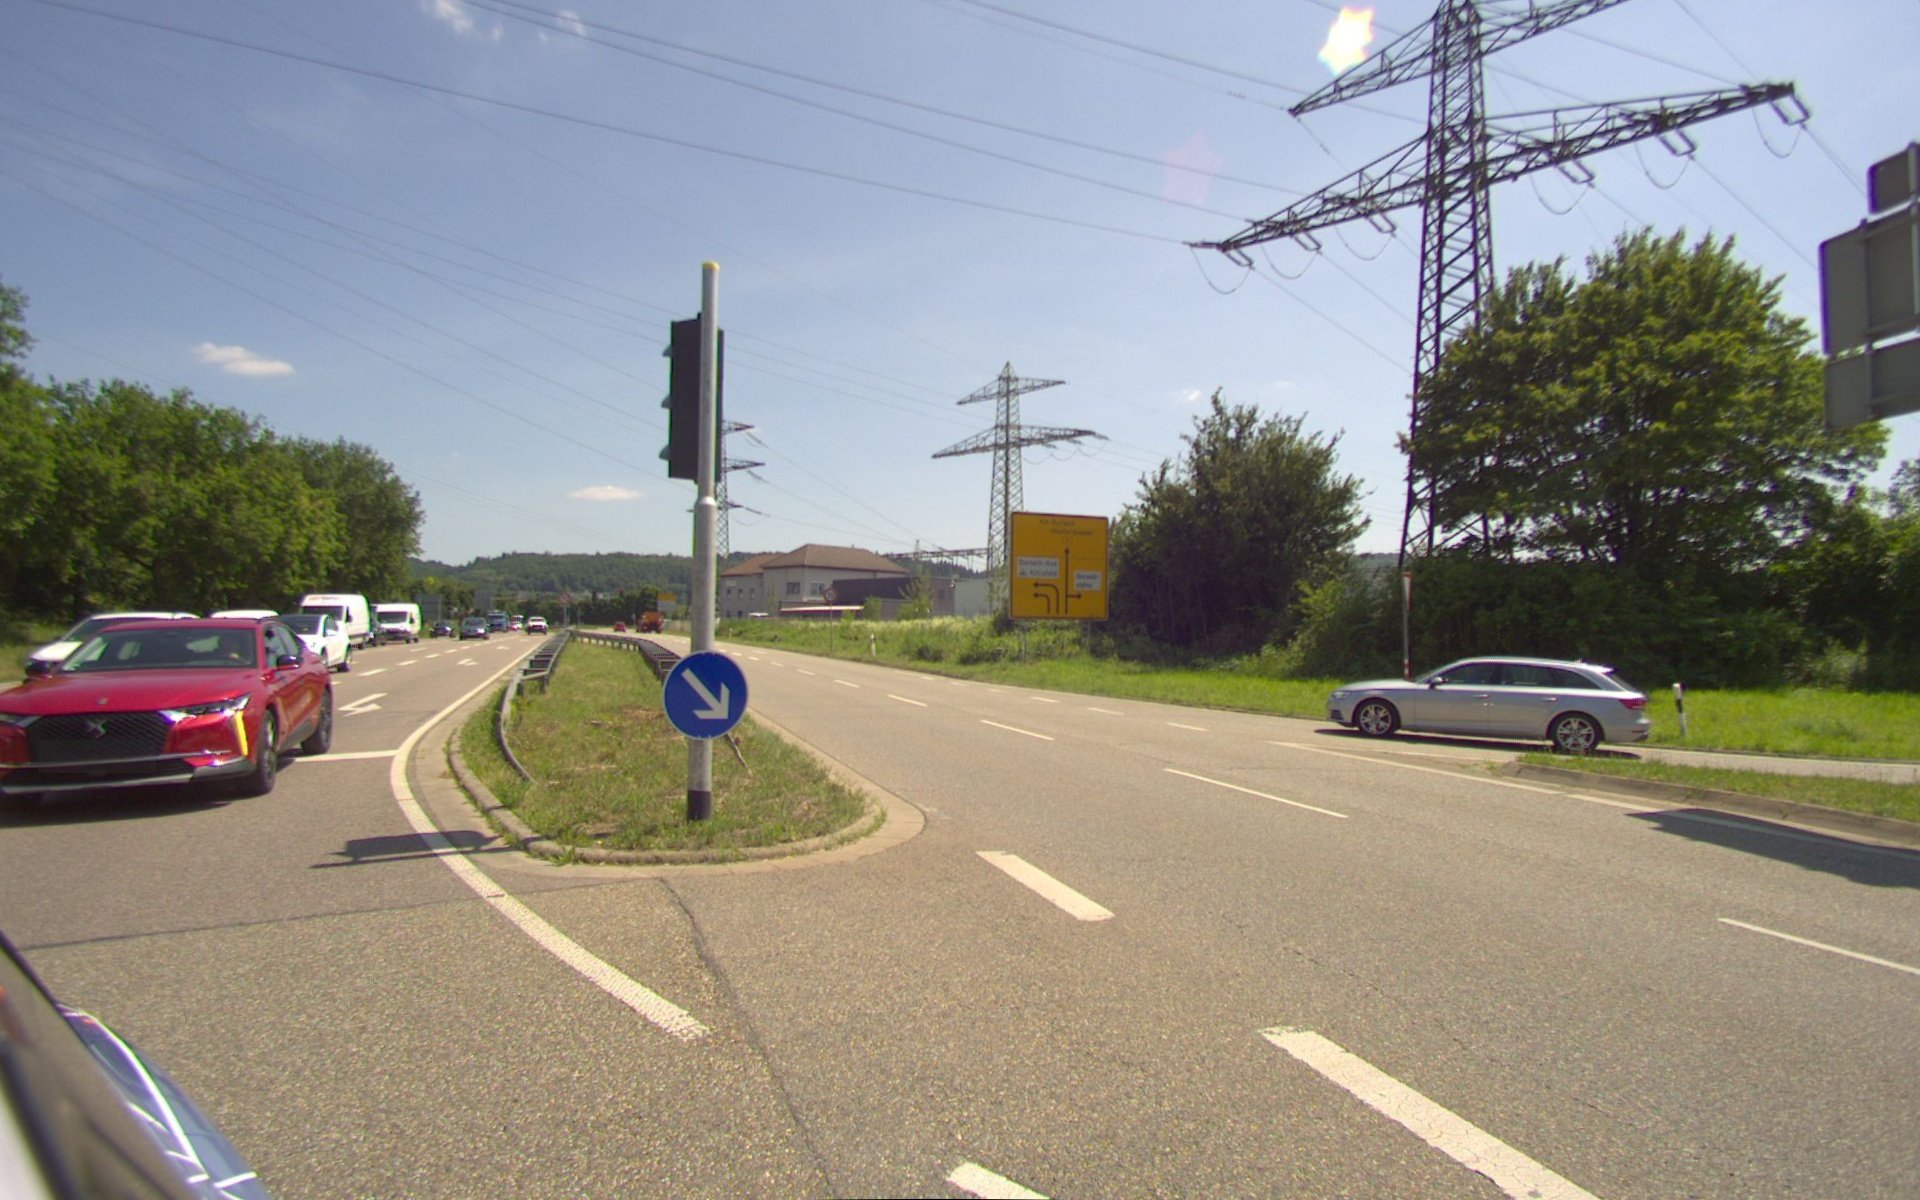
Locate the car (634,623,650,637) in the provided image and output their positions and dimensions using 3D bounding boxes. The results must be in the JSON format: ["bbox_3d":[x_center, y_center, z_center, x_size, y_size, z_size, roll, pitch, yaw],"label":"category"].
[{"bbox_3d":[-48.423,4.549,154.038,1.965,1.929,4.013,-1,0,-24],"label":"car"}]

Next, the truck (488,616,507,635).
[{"bbox_3d":[-62.562,3.389,136.930,2.134,2.460,4.927,-1,0,-23],"label":"truck"}]

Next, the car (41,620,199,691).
[{"bbox_3d":[-20.870,1.317,25.353,1.718,1.606,4.286,-1,-1,-20],"label":"car"}]

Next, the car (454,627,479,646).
[{"bbox_3d":[-50.290,3.723,103.190,1.965,1.832,4.013,-1,0,-20],"label":"car"}]

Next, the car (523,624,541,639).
[{"bbox_3d":[-62.230,4.596,147.187,1.966,2.029,4.012,-1,0,-17],"label":"car"}]

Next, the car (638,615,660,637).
[{"bbox_3d":[-44.733,3.752,145.325,2.563,3.084,5.657,2,-2,-21],"label":"car"}]

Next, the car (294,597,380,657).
[{"bbox_3d":[-29.302,1.249,47.832,2.195,2.627,7.041,-1,-1,-21],"label":"car"}]

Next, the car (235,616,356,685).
[{"bbox_3d":[-17.884,1.301,27.446,1.988,1.694,4.013,-1,-1,-22],"label":"car"}]

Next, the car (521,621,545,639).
[{"bbox_3d":[-43.206,3.033,102.503,1.965,1.776,4.012,1,-2,-19],"label":"car"}]

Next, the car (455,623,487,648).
[{"bbox_3d":[-35.264,2.532,73.004,1.847,1.696,4.013,-1,0,-23],"label":"car"}]

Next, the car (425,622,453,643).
[{"bbox_3d":[-45.084,2.753,87.621,1.847,1.696,4.013,-1,0,-23],"label":"car"}]

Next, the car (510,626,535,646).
[{"bbox_3d":[-46.527,3.839,107.639,1.966,2.029,4.012,1,-2,-16],"label":"car"}]

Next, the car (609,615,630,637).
[{"bbox_3d":[-49.800,3.835,147.835,2.563,3.084,5.657,2,-2,-21],"label":"car"}]

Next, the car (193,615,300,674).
[{"bbox_3d":[-24.265,1.468,34.620,1.779,1.814,5.054,-1,-1,-21],"label":"car"}]

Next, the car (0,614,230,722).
[{"bbox_3d":[-14.345,1.066,17.390,1.819,1.580,4.377,-1,-1,-20],"label":"car"}]

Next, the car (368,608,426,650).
[{"bbox_3d":[-34.869,1.767,62.823,2.270,2.441,5.832,-1,-1,-20],"label":"car"}]

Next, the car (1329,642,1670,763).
[{"bbox_3d":[8.647,1.579,16.618,4.642,1.588,2.030,1,-3,27],"label":"car"}]

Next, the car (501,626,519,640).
[{"bbox_3d":[-68.920,5.076,155.072,1.966,2.029,4.012,-1,0,-16],"label":"car"}]

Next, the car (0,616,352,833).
[{"bbox_3d":[-7.032,0.914,9.175,1.816,1.473,4.428,-1,-1,-20],"label":"car"}]
